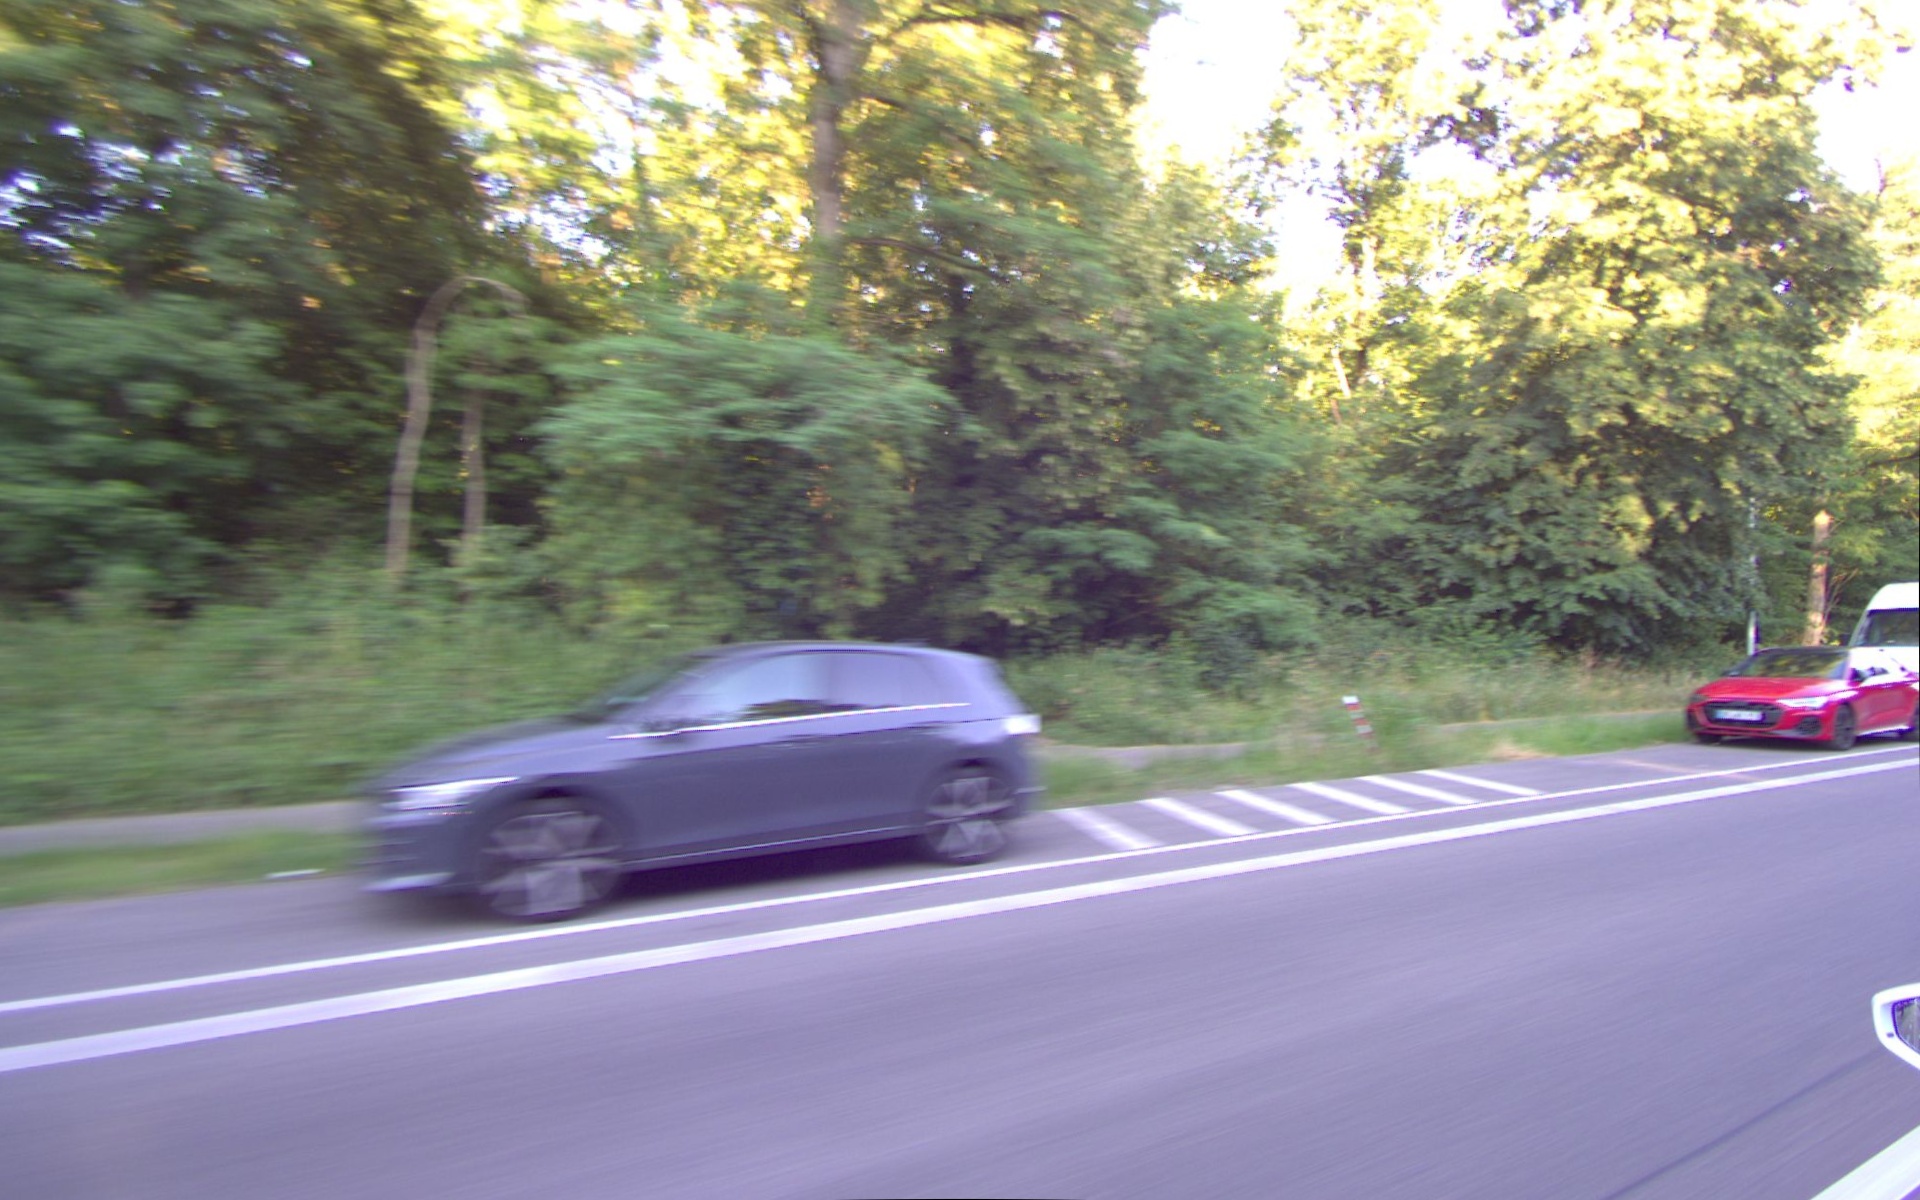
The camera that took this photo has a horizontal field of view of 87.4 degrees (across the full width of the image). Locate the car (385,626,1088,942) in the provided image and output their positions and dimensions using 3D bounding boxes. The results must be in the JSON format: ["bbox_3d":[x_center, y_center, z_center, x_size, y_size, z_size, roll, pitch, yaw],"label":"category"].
[{"bbox_3d":[-1.351,0.943,6.654,4.184,1.482,1.835,1,-3,-33],"label":"car"}]

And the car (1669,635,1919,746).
[{"bbox_3d":[12.680,1.261,15.008,4.334,1.449,1.709,2,-2,-29],"label":"car"}]

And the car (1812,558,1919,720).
[{"bbox_3d":[18.591,0.744,18.587,7.006,2.640,2.070,2,-4,-31],"label":"car"}]
